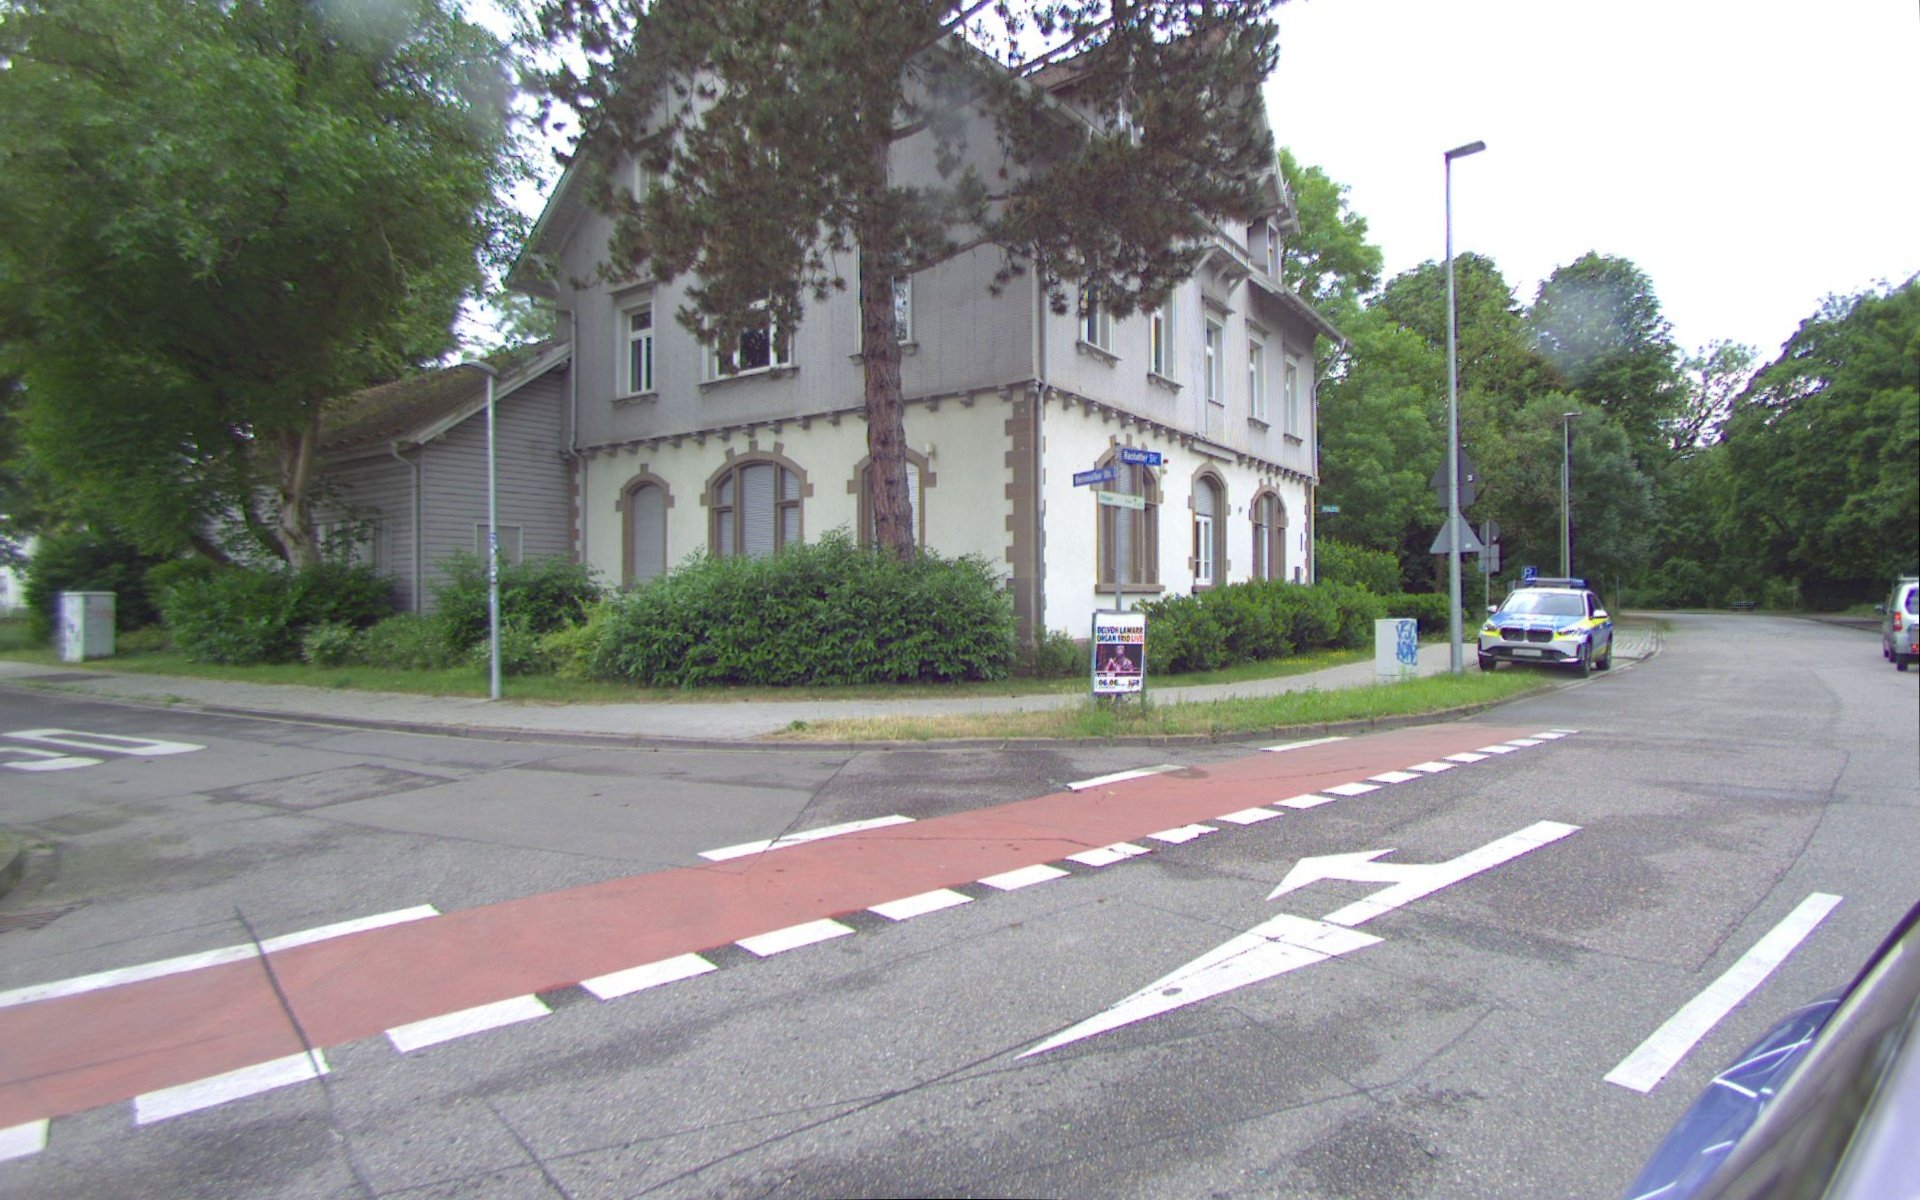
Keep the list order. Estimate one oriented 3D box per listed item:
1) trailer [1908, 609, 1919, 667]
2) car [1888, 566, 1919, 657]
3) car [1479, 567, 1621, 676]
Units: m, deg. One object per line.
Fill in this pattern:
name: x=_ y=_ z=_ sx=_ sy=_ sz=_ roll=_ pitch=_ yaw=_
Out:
trailer: x=18.961 y=0.695 z=19.067 sx=1.566 sy=0.998 sz=3.411 roll=0 pitch=1 yaw=43
car: x=21.569 y=0.187 z=21.783 sx=2.085 sy=1.881 sz=4.161 roll=-2 pitch=0 yaw=40
car: x=11.566 y=0.333 z=19.731 sx=1.926 sy=1.873 sz=3.947 roll=2 pitch=2 yaw=37
